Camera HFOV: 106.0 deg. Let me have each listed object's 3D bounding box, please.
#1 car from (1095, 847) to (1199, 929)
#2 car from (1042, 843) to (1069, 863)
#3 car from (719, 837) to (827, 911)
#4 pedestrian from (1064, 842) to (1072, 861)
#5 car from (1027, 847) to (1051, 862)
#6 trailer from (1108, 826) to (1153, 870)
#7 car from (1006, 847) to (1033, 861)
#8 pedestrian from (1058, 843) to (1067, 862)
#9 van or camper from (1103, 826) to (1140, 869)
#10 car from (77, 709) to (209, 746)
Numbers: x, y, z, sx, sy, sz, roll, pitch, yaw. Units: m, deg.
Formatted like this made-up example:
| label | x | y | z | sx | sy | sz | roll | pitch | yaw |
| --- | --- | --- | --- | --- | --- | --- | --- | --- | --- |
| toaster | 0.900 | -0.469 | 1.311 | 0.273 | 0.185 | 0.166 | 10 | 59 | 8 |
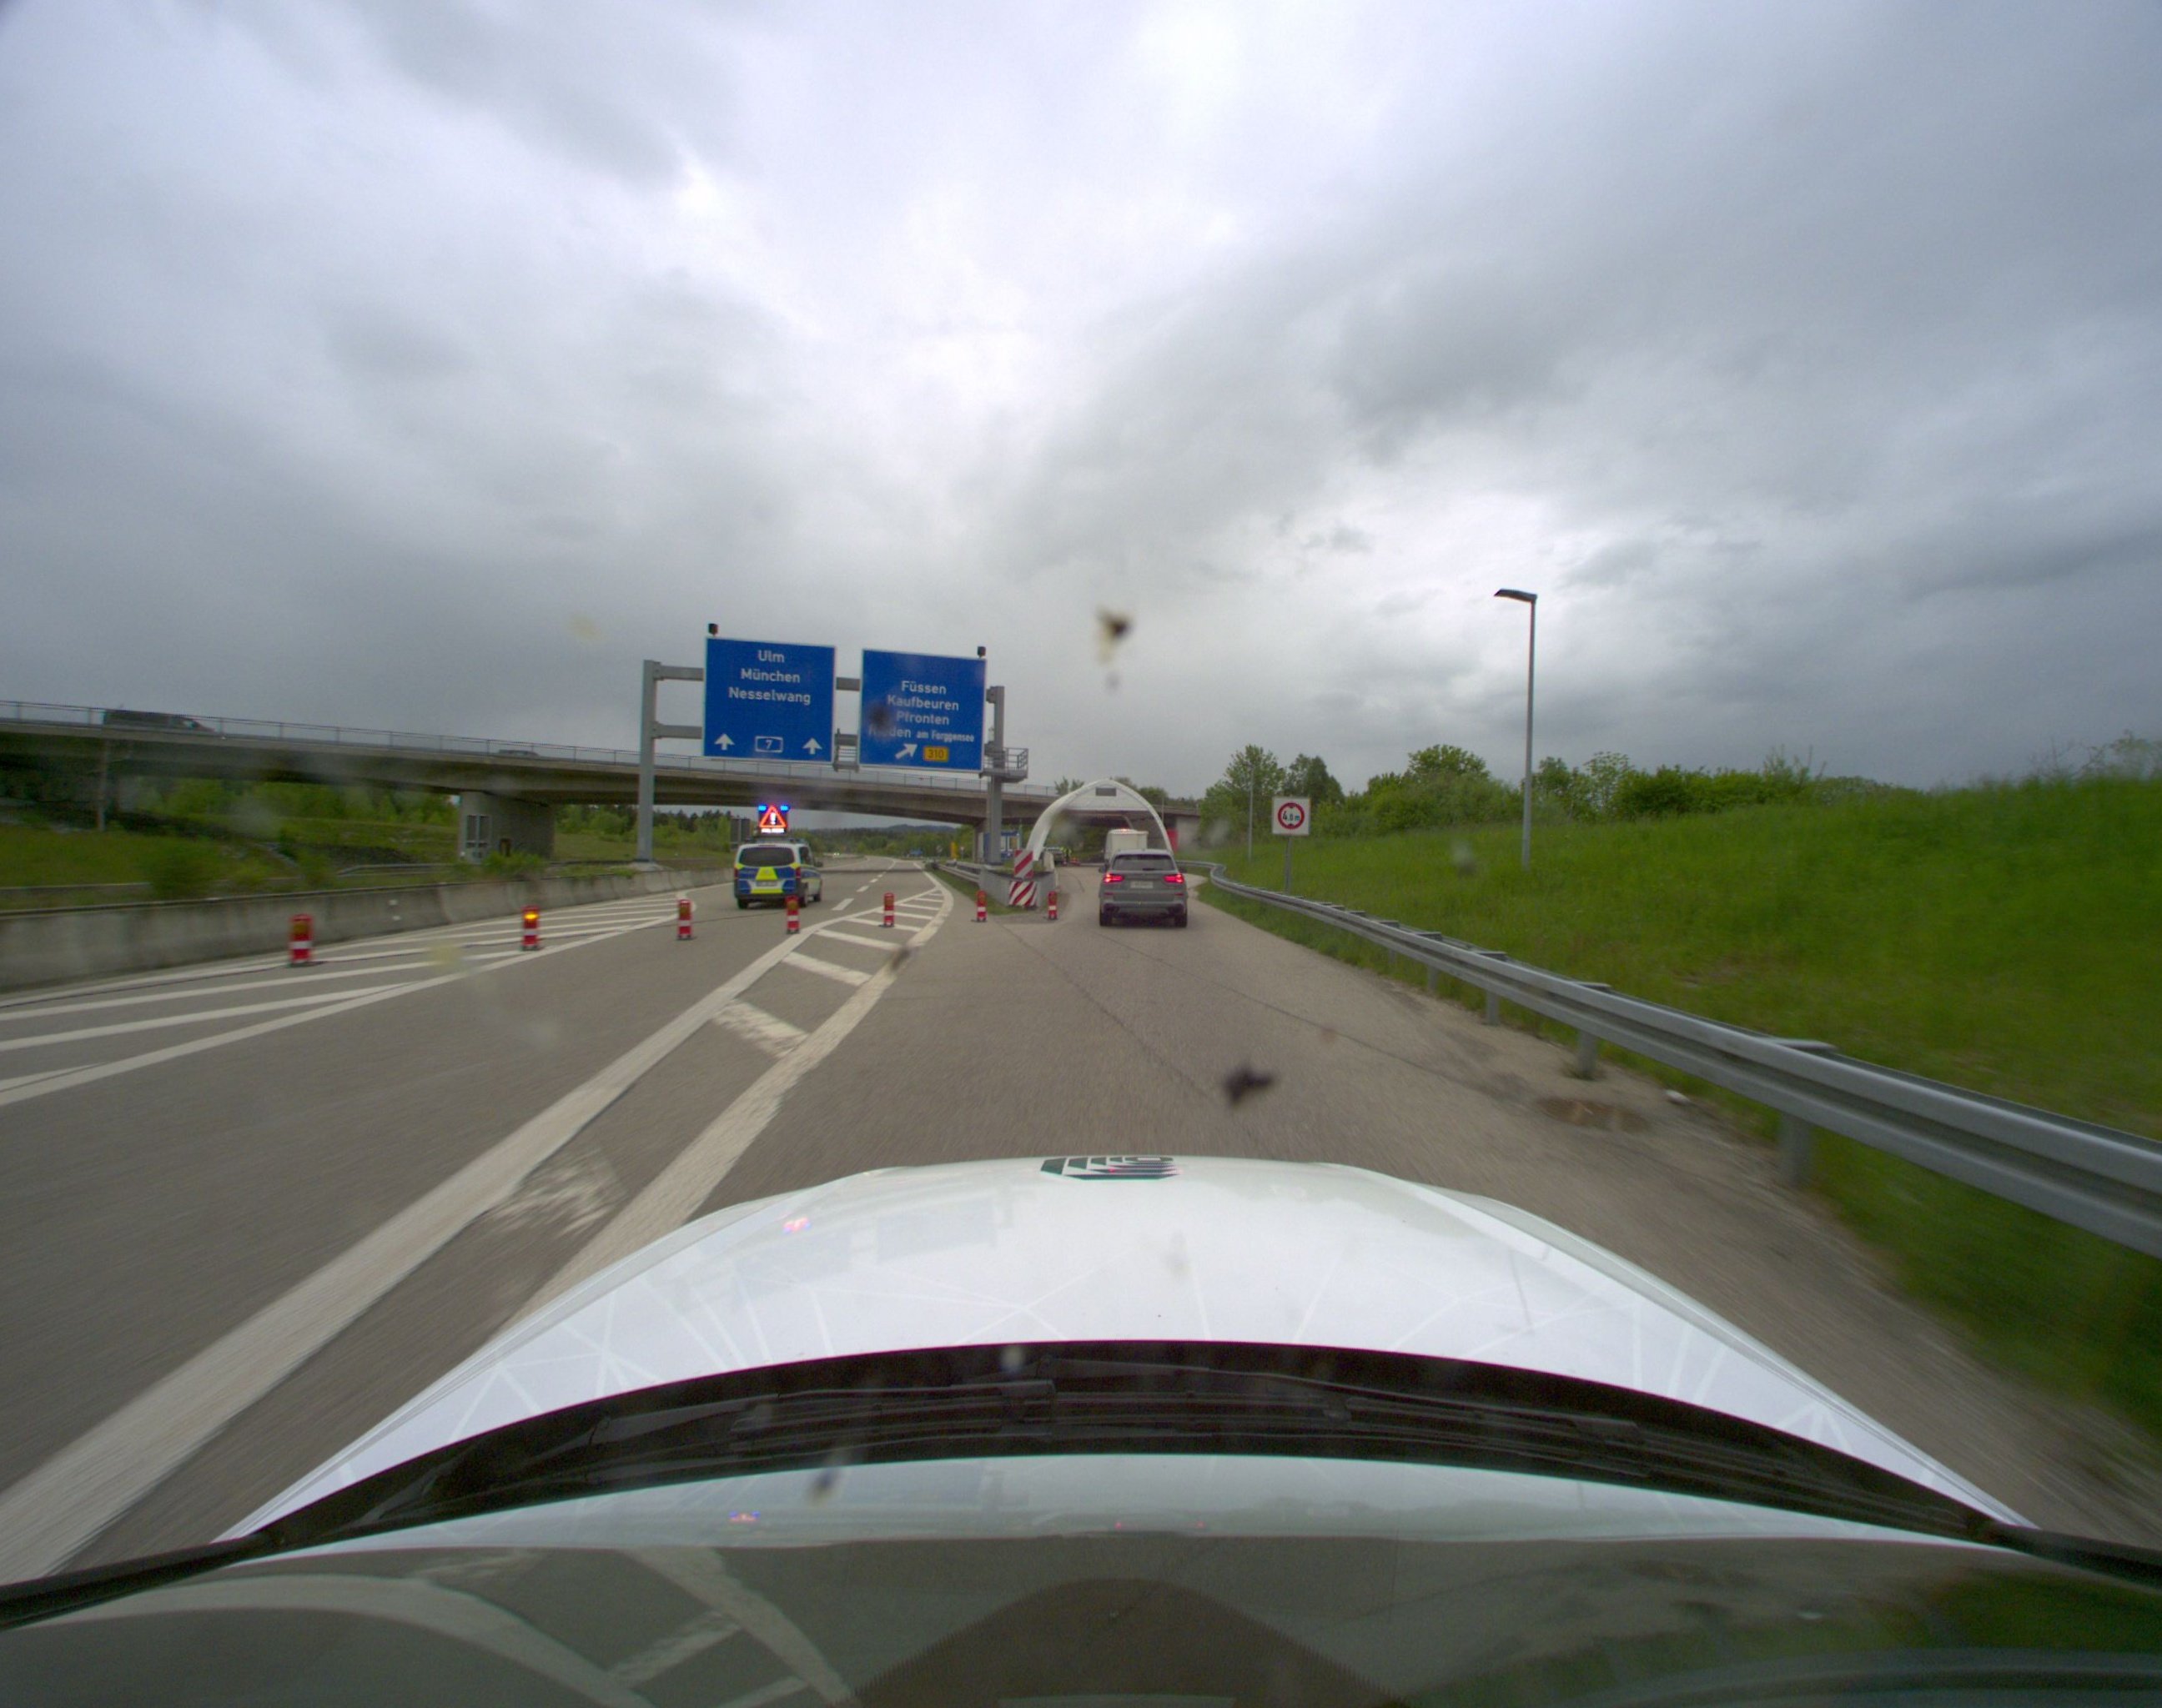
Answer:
| label | x | y | z | sx | sy | sz | roll | pitch | yaw |
| --- | --- | --- | --- | --- | --- | --- | --- | --- | --- |
| car | 1.673 | 0.723 | 19.273 | 1.981 | 1.719 | 4.012 | 0 | 0 | 11 |
| car | -2.287 | -0.110 | 72.826 | 1.992 | 1.772 | 3.755 | -1 | 0 | -8 |
| car | -9.221 | 0.520 | 24.858 | 2.287 | 2.013 | 5.030 | 0 | 1 | -11 |
| pedestrian | -1.187 | -0.201 | 76.417 | 0.648 | 1.775 | 0.604 | -1 | 0 | -10 |
| car | -5.942 | 0.037 | 114.508 | 2.005 | 2.013 | 3.965 | -1 | 0 | -27 |
| trailer | 2.898 | -0.297 | 49.017 | 2.272 | 2.430 | 6.815 | 0 | -1 | 0 |
| car | -6.665 | -0.013 | 88.314 | 1.525 | 1.442 | 3.281 | -1 | 0 | -33 |
| pedestrian | -1.708 | -0.146 | 75.310 | 0.720 | 1.775 | 0.688 | -1 | 0 | -8 |
| van or camper | 2.682 | -0.387 | 55.359 | 2.151 | 2.763 | 5.868 | 0 | -1 | -1 |
| car | -57.249 | -7.691 | 49.847 | 4.960 | 1.648 | 1.978 | -1 | 0 | -36 |
